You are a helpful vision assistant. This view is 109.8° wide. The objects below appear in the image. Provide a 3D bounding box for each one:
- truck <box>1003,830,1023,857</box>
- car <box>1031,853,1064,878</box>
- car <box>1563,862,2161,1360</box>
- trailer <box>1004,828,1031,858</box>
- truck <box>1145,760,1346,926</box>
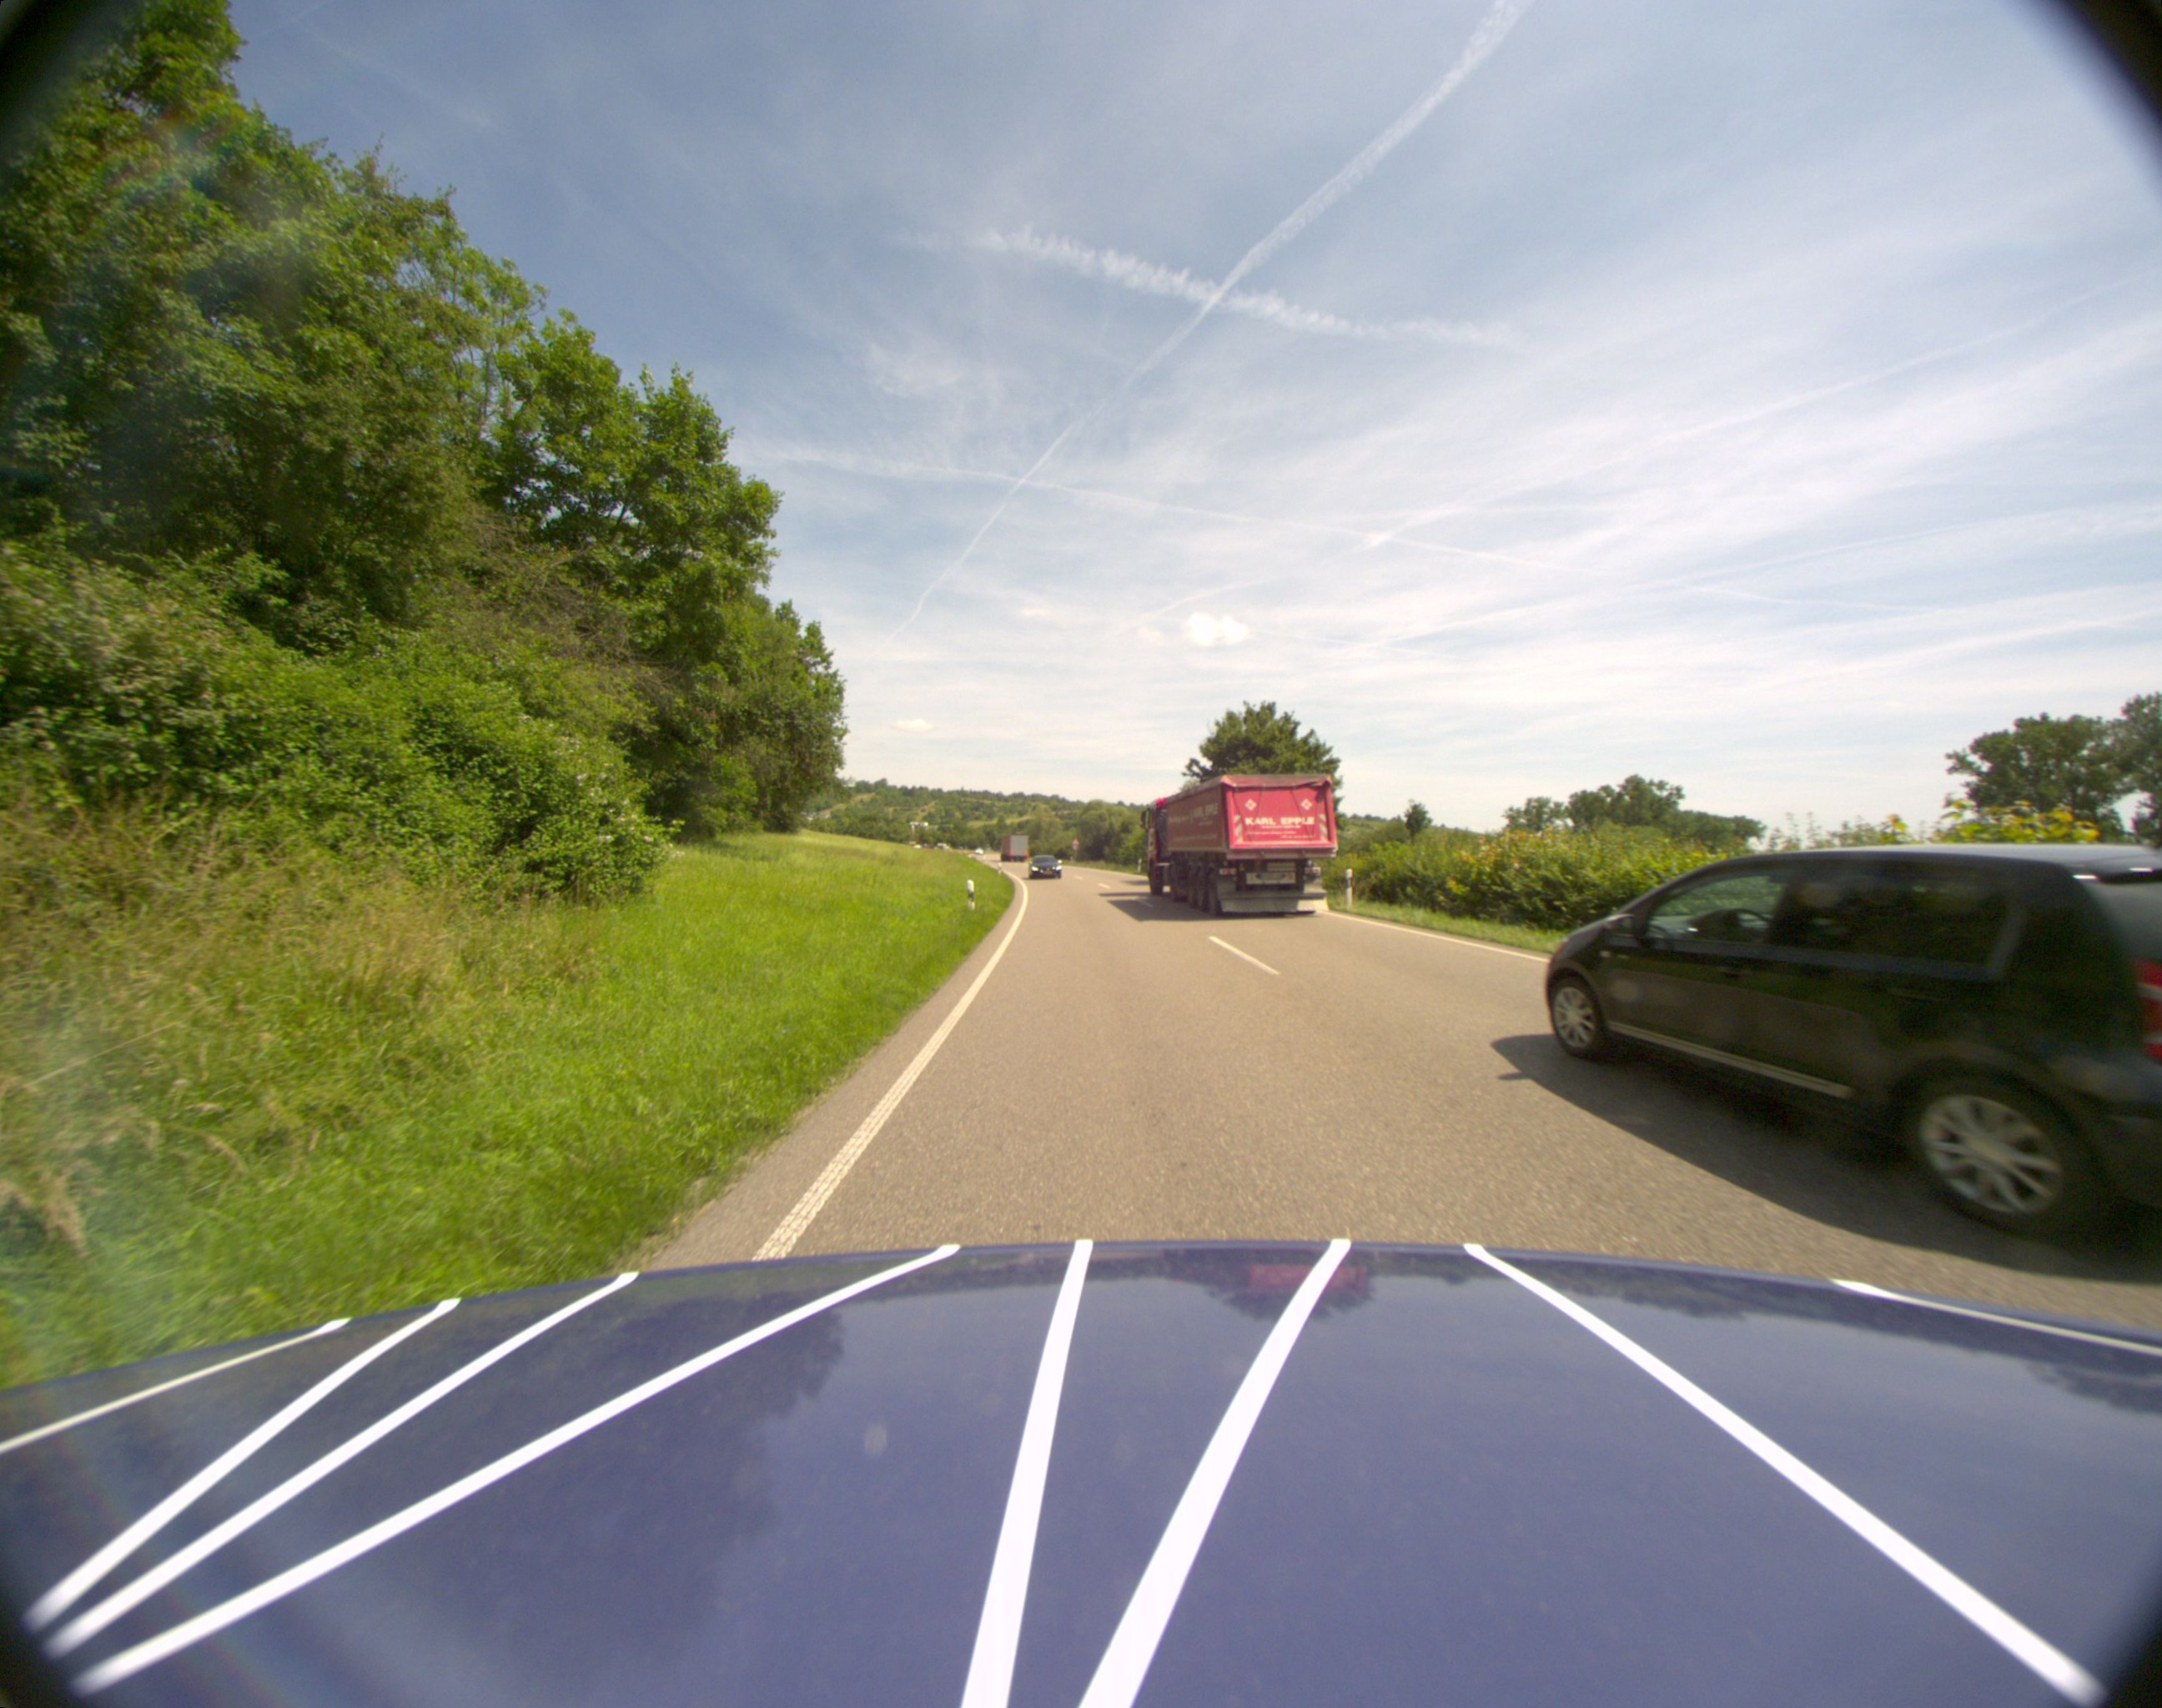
[{"bbox_3d":[-10.846,-1.622,120.382,2.568,4.092,5.793,-1,1,-11],"label":"truck"},{"bbox_3d":[-2.143,0.693,47.452,1.786,1.440,4.601,-1,0,-6],"label":"car"},{"bbox_3d":[4.060,0.811,3.647,1.433,1.462,3.272,-1,0,1],"label":"car"},{"bbox_3d":[-9.535,-1.585,113.320,2.577,4.084,13.647,-1,1,-11],"label":"trailer"},{"bbox_3d":[4.001,-0.282,22.230,2.559,3.432,12.629,-1,0,-3],"label":"truck"}]
